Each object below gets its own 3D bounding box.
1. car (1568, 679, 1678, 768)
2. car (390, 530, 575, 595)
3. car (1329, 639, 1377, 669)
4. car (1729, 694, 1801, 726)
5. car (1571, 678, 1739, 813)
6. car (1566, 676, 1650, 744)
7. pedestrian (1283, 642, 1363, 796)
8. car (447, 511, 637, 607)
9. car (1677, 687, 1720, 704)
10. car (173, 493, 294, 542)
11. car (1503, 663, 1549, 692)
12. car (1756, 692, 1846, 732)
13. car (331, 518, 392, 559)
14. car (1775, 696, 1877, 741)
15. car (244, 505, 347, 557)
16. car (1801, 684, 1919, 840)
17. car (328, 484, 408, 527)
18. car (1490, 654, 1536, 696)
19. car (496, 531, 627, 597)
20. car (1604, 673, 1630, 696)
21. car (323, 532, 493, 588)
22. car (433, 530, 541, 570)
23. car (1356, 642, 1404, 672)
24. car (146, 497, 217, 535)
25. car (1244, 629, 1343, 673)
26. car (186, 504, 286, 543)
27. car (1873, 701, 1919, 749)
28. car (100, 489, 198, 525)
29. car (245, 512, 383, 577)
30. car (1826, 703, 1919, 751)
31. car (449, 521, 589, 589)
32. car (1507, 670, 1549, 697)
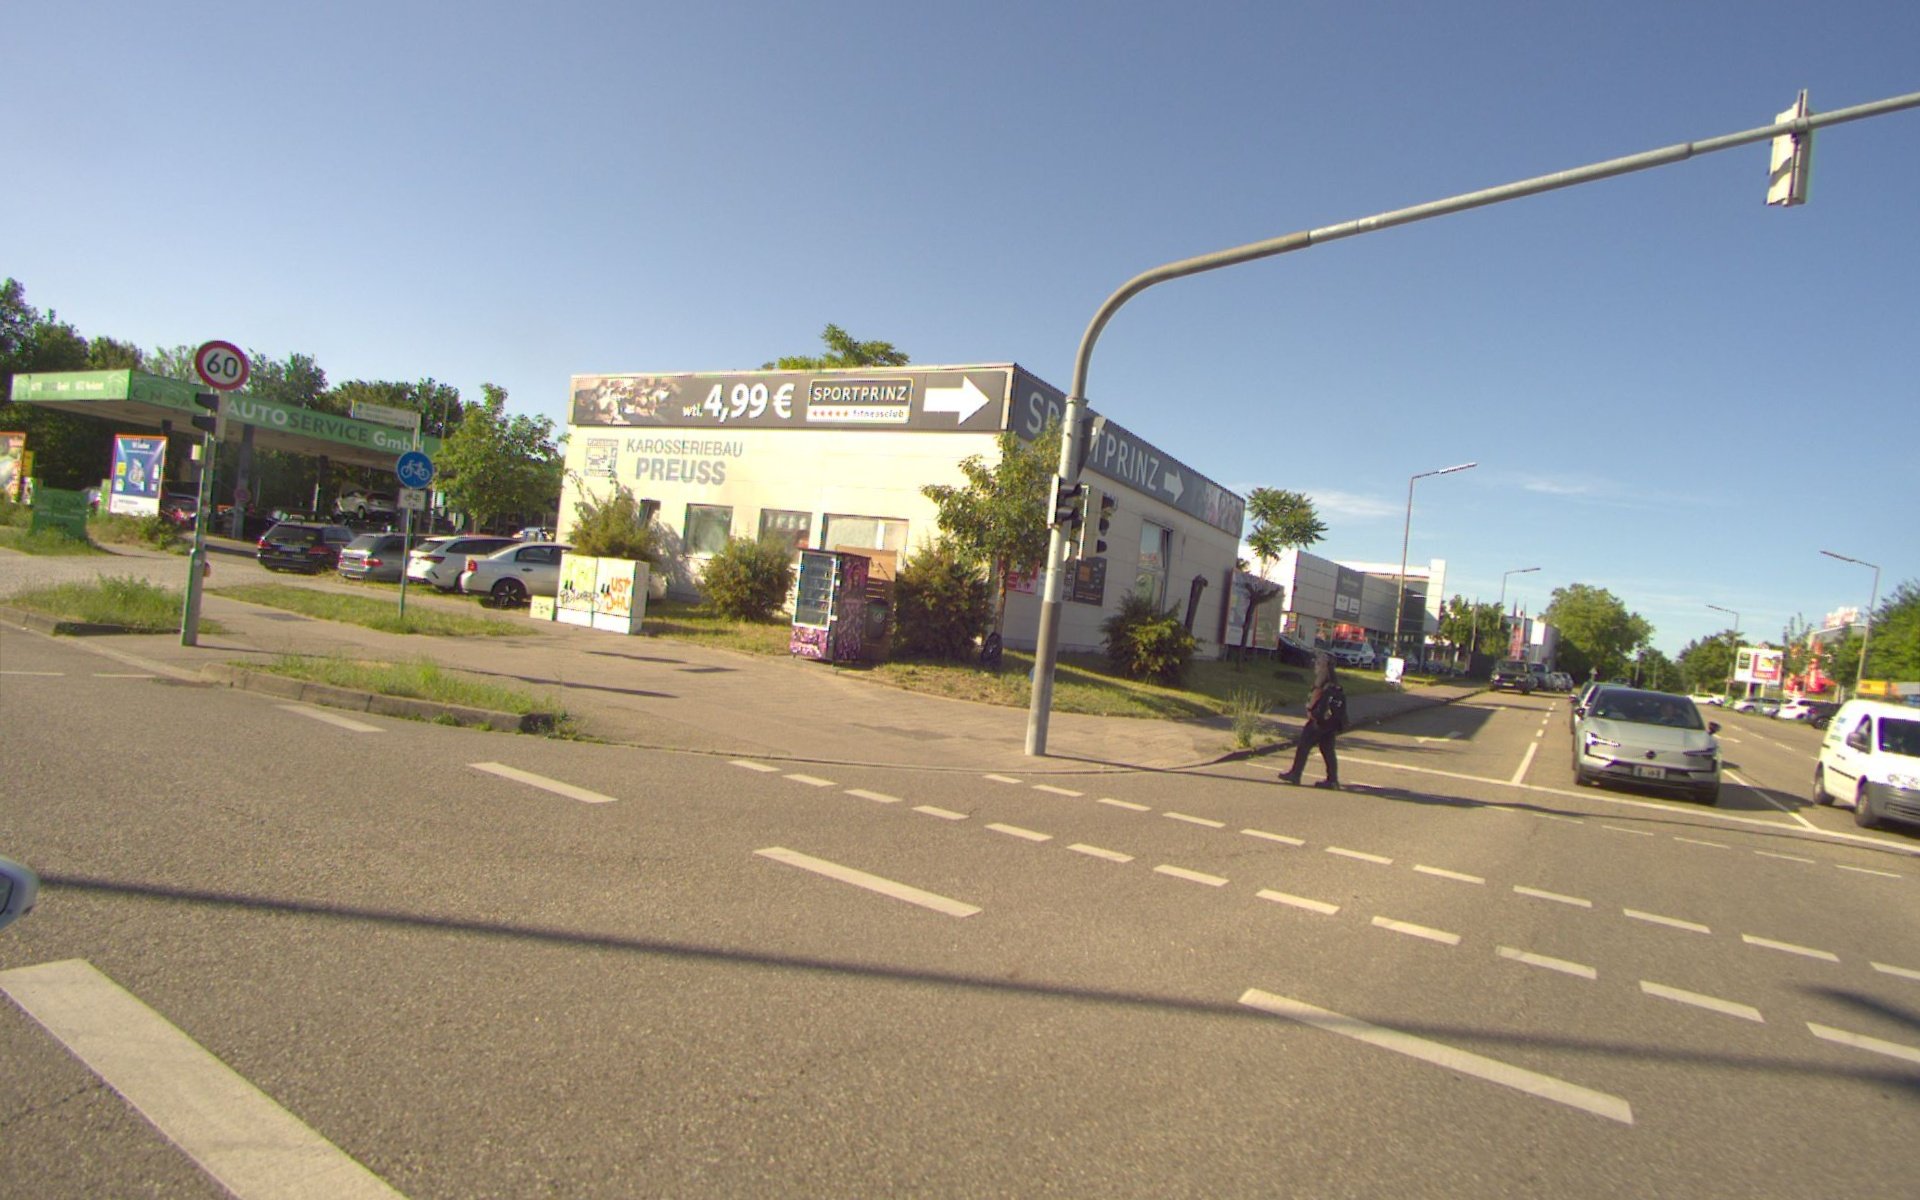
[{"bbox_3d":[14.773,2.674,22.551,1.779,1.609,3.922,5,-1,32],"label":"car"},{"bbox_3d":[-12.034,-0.970,25.513,1.701,1.474,3.901,7,7,43],"label":"car"},{"bbox_3d":[22.714,3.142,58.097,1.779,1.401,3.923,6,-1,33],"label":"car"},{"bbox_3d":[63.051,8.598,78.861,4.081,1.874,1.719,6,-1,31],"label":"car"},{"bbox_3d":[11.022,2.189,16.201,1.871,1.665,4.094,5,-1,32],"label":"car"},{"bbox_3d":[18.383,3.062,28.651,1.779,1.609,3.922,5,-1,32],"label":"car"},{"bbox_3d":[4.414,1.425,12.221,0.607,1.737,0.758,6,1,31],"label":"pedestrian"},{"bbox_3d":[-9.665,-0.937,23.366,3.944,2.044,1.673,0,7,-26],"label":"car"},{"bbox_3d":[88.300,11.393,120.287,3.936,1.379,1.778,6,-2,34],"label":"car"},{"bbox_3d":[-33.446,-3.760,46.400,3.929,1.503,2.000,8,-2,-5],"label":"car"},{"bbox_3d":[37.613,5.167,66.812,1.970,1.663,3.985,6,0,37],"label":"car"},{"bbox_3d":[56.717,7.535,67.945,4.289,2.008,1.719,6,-1,31],"label":"car"},{"bbox_3d":[-25.644,-2.610,43.226,1.671,1.438,3.682,8,-1,-24],"label":"car"},{"bbox_3d":[53.169,7.253,61.869,4.289,2.044,1.719,7,0,31],"label":"car"},{"bbox_3d":[-27.932,-2.890,42.249,3.934,1.666,1.997,6,-2,32],"label":"car"},{"bbox_3d":[14.039,2.342,14.715,1.841,1.957,4.687,6,-1,32],"label":"car"},{"bbox_3d":[-29.924,-4.769,50.835,3.716,1.777,1.920,6,0,33],"label":"car"},{"bbox_3d":[31.026,4.242,56.398,1.711,1.991,3.992,6,-2,35],"label":"car"},{"bbox_3d":[-13.549,-1.231,34.139,4.145,1.886,1.893,6,3,29],"label":"car"},{"bbox_3d":[68.898,8.913,105.483,1.679,2.037,3.987,6,-2,39],"label":"car"},{"bbox_3d":[-14.788,-1.112,27.109,1.811,1.310,3.599,6,6,33],"label":"car"},{"bbox_3d":[-19.927,-2.094,42.515,1.818,1.569,3.761,4,3,31],"label":"car"},{"bbox_3d":[25.932,3.524,61.986,1.754,1.379,3.990,6,-3,36],"label":"car"},{"bbox_3d":[-43.085,-4.644,55.655,4.067,1.625,1.717,6,-2,32],"label":"car"},{"bbox_3d":[15.403,2.365,46.540,3.935,1.503,1.779,6,-2,33],"label":"car"},{"bbox_3d":[-39.284,-4.111,54.682,1.668,1.535,3.994,6,0,27],"label":"car"},{"bbox_3d":[41.929,5.516,42.711,4.289,1.858,1.719,6,-1,31],"label":"car"},{"bbox_3d":[-46.743,-5.367,58.068,1.706,1.551,4.037,6,1,33],"label":"car"},{"bbox_3d":[-18.550,-1.582,29.176,1.870,1.551,4.818,5,2,-15],"label":"car"},{"bbox_3d":[46.499,6.413,50.416,4.289,1.859,1.719,7,0,31],"label":"car"},{"bbox_3d":[-14.098,-1.449,32.104,4.518,1.807,1.683,6,3,29],"label":"car"},{"bbox_3d":[41.238,6.098,73.023,1.970,1.618,3.986,7,0,37],"label":"car"}]
